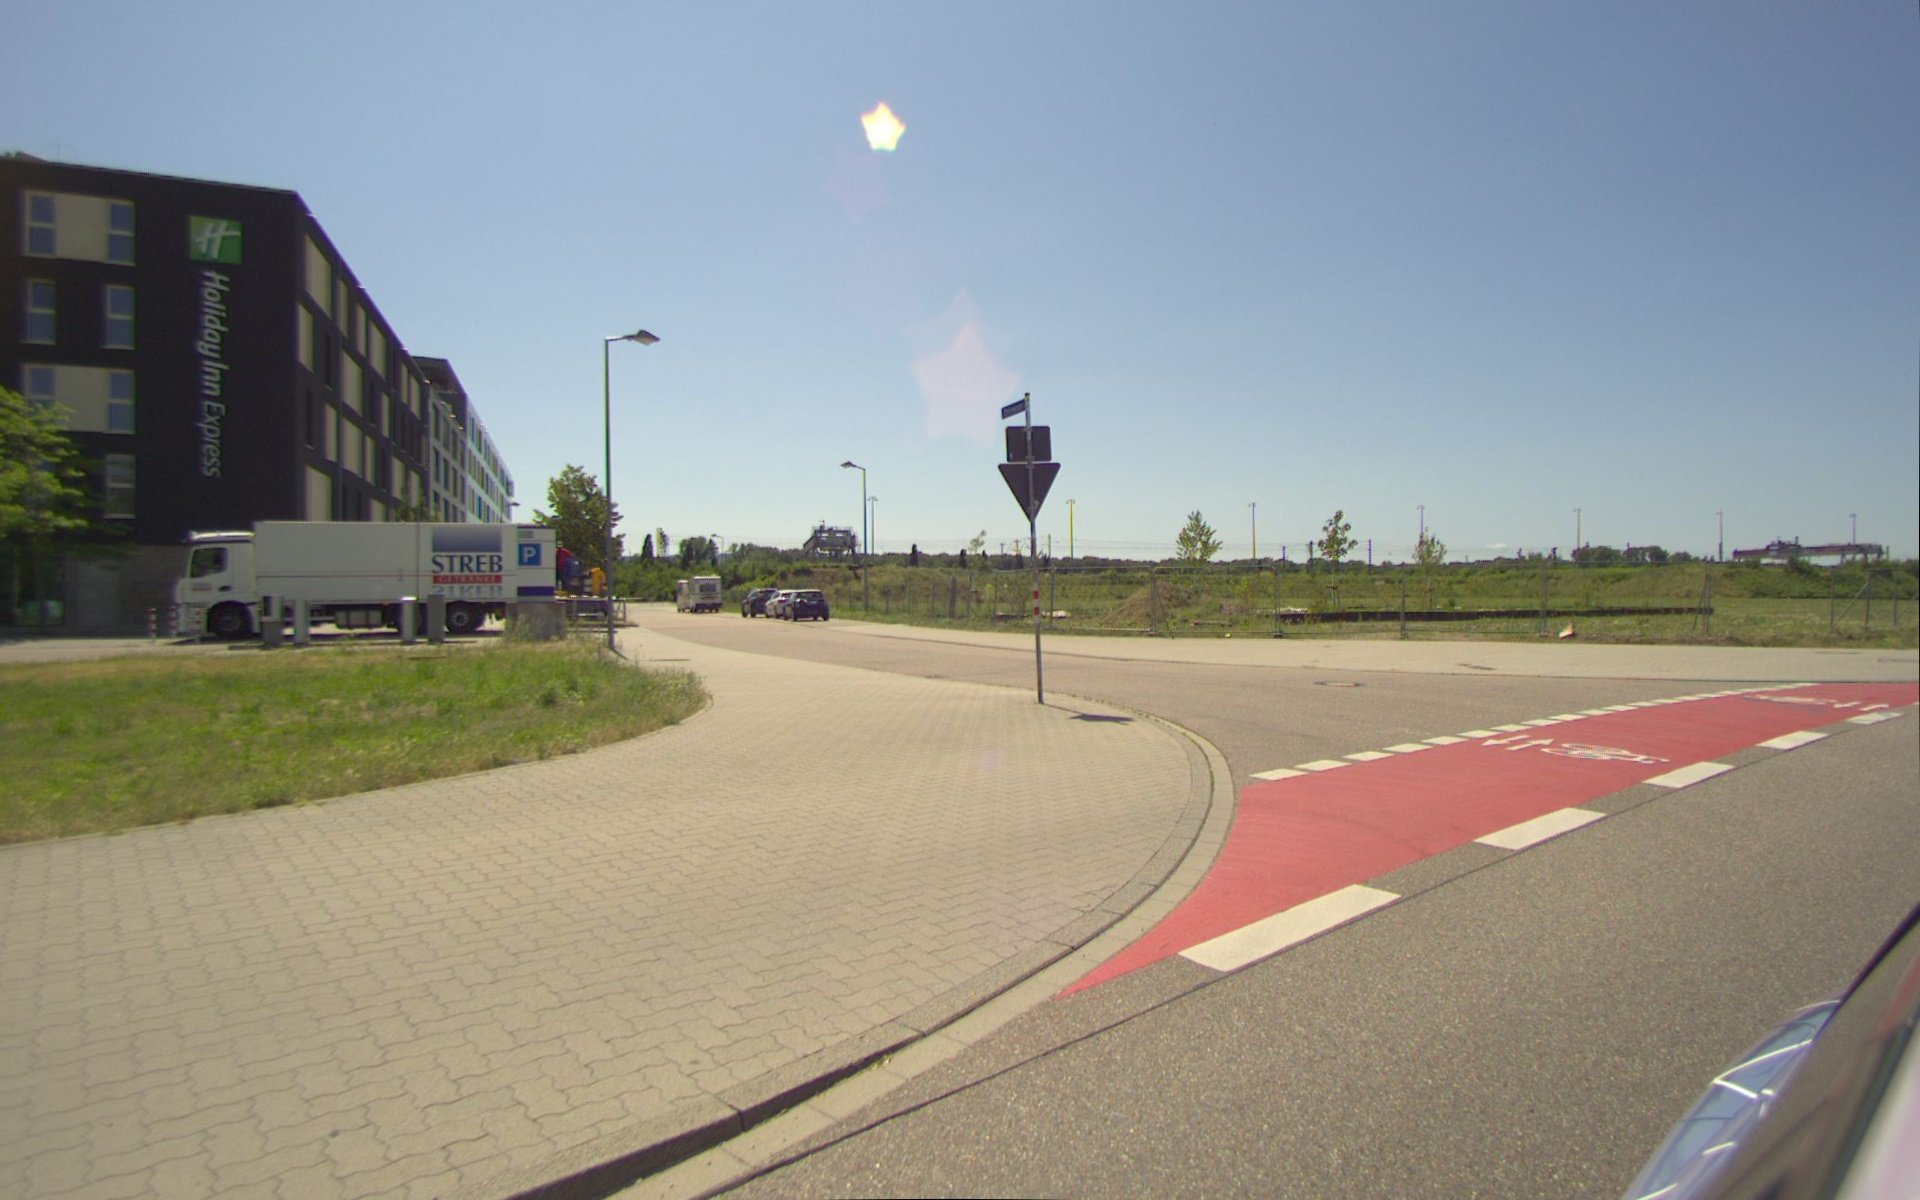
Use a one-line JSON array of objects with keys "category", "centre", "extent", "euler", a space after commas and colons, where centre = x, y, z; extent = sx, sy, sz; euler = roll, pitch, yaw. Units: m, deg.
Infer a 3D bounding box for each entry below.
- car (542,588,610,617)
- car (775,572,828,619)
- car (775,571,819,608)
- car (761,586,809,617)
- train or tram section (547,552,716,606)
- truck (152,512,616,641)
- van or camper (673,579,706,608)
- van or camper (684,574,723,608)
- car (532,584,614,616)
[{"category": "car", "centre": [-24.093, 0.144, 63.471], "extent": [3.934, 1.721, 1.678], "euler": [0, 0, -23]}, {"category": "car", "centre": [-7.391, -0.215, 46.911], "extent": [1.841, 2.039, 3.924], "euler": [0, 0, -17]}, {"category": "car", "centre": [-9.864, -0.592, 60.889], "extent": [1.841, 2.039, 3.923], "euler": [-2, -1, -20]}, {"category": "car", "centre": [-9.079, 0.062, 52.269], "extent": [1.712, 1.577, 4.053], "euler": [0, 0, -20]}, {"category": "train or tram section", "centre": [-63.560, -3.962, 197.671], "extent": [30.557, 10.051, 9.619], "euler": [0, 0, -15]}, {"category": "truck", "centre": [-16.767, -0.737, 30.817], "extent": [11.883, 3.504, 3.026], "euler": [0, 2, -19]}, {"category": "van or camper", "centre": [-25.217, -0.608, 94.385], "extent": [2.353, 2.567, 5.447], "euler": [0, 0, -22]}, {"category": "van or camper", "centre": [-21.975, -0.773, 86.511], "extent": [2.511, 2.811, 6.439], "euler": [0, 0, -20]}, {"category": "car", "centre": [-18.126, -0.012, 47.426], "extent": [3.507, 1.471, 1.698], "euler": [0, 0, -22]}]
